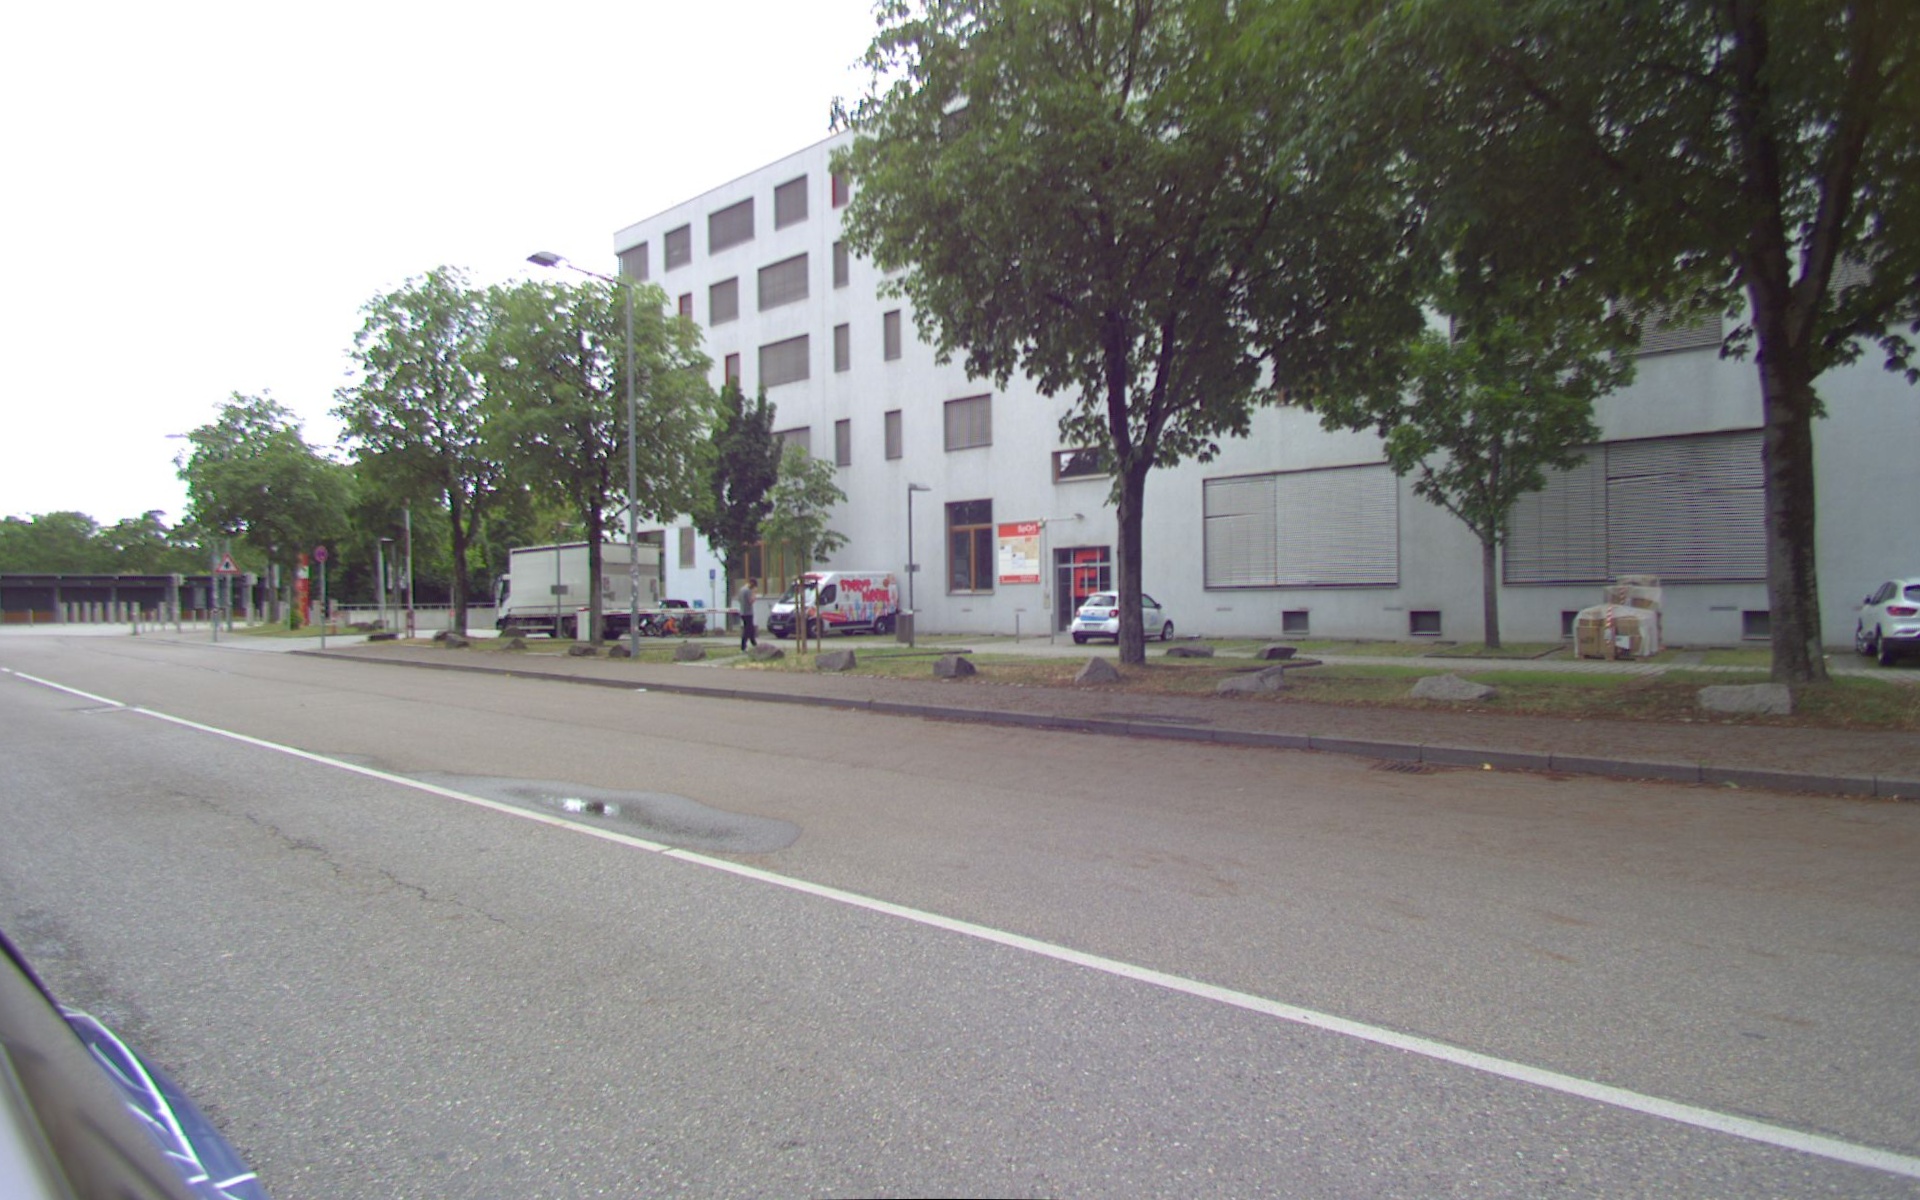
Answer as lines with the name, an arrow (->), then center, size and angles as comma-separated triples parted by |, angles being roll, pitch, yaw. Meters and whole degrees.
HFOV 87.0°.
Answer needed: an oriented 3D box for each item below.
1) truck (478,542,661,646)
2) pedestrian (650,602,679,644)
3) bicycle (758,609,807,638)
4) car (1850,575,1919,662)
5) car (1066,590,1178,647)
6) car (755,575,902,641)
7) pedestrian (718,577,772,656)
truck -> -15.106, -0.269, 38.783 | 8.354, 3.627, 2.651 | 0, 1, 38
pedestrian -> -11.485, 0.881, 39.308 | 0.885, 1.618, 0.672 | 0, 1, 34
bicycle -> -7.254, 0.956, 41.438 | 0.614, 1.078, 2.002 | 0, 2, 44
car -> 17.934, 0.282, 18.655 | 1.896, 1.467, 3.963 | 0, 1, 36
car -> 4.831, 0.488, 29.905 | 1.691, 1.511, 3.576 | 0, 1, 40
car -> -4.838, 0.227, 38.073 | 2.078, 2.296, 5.569 | 0, 1, 40
pedestrian -> -4.681, 0.345, 22.035 | 0.784, 1.684, 0.836 | 0, 1, 34
